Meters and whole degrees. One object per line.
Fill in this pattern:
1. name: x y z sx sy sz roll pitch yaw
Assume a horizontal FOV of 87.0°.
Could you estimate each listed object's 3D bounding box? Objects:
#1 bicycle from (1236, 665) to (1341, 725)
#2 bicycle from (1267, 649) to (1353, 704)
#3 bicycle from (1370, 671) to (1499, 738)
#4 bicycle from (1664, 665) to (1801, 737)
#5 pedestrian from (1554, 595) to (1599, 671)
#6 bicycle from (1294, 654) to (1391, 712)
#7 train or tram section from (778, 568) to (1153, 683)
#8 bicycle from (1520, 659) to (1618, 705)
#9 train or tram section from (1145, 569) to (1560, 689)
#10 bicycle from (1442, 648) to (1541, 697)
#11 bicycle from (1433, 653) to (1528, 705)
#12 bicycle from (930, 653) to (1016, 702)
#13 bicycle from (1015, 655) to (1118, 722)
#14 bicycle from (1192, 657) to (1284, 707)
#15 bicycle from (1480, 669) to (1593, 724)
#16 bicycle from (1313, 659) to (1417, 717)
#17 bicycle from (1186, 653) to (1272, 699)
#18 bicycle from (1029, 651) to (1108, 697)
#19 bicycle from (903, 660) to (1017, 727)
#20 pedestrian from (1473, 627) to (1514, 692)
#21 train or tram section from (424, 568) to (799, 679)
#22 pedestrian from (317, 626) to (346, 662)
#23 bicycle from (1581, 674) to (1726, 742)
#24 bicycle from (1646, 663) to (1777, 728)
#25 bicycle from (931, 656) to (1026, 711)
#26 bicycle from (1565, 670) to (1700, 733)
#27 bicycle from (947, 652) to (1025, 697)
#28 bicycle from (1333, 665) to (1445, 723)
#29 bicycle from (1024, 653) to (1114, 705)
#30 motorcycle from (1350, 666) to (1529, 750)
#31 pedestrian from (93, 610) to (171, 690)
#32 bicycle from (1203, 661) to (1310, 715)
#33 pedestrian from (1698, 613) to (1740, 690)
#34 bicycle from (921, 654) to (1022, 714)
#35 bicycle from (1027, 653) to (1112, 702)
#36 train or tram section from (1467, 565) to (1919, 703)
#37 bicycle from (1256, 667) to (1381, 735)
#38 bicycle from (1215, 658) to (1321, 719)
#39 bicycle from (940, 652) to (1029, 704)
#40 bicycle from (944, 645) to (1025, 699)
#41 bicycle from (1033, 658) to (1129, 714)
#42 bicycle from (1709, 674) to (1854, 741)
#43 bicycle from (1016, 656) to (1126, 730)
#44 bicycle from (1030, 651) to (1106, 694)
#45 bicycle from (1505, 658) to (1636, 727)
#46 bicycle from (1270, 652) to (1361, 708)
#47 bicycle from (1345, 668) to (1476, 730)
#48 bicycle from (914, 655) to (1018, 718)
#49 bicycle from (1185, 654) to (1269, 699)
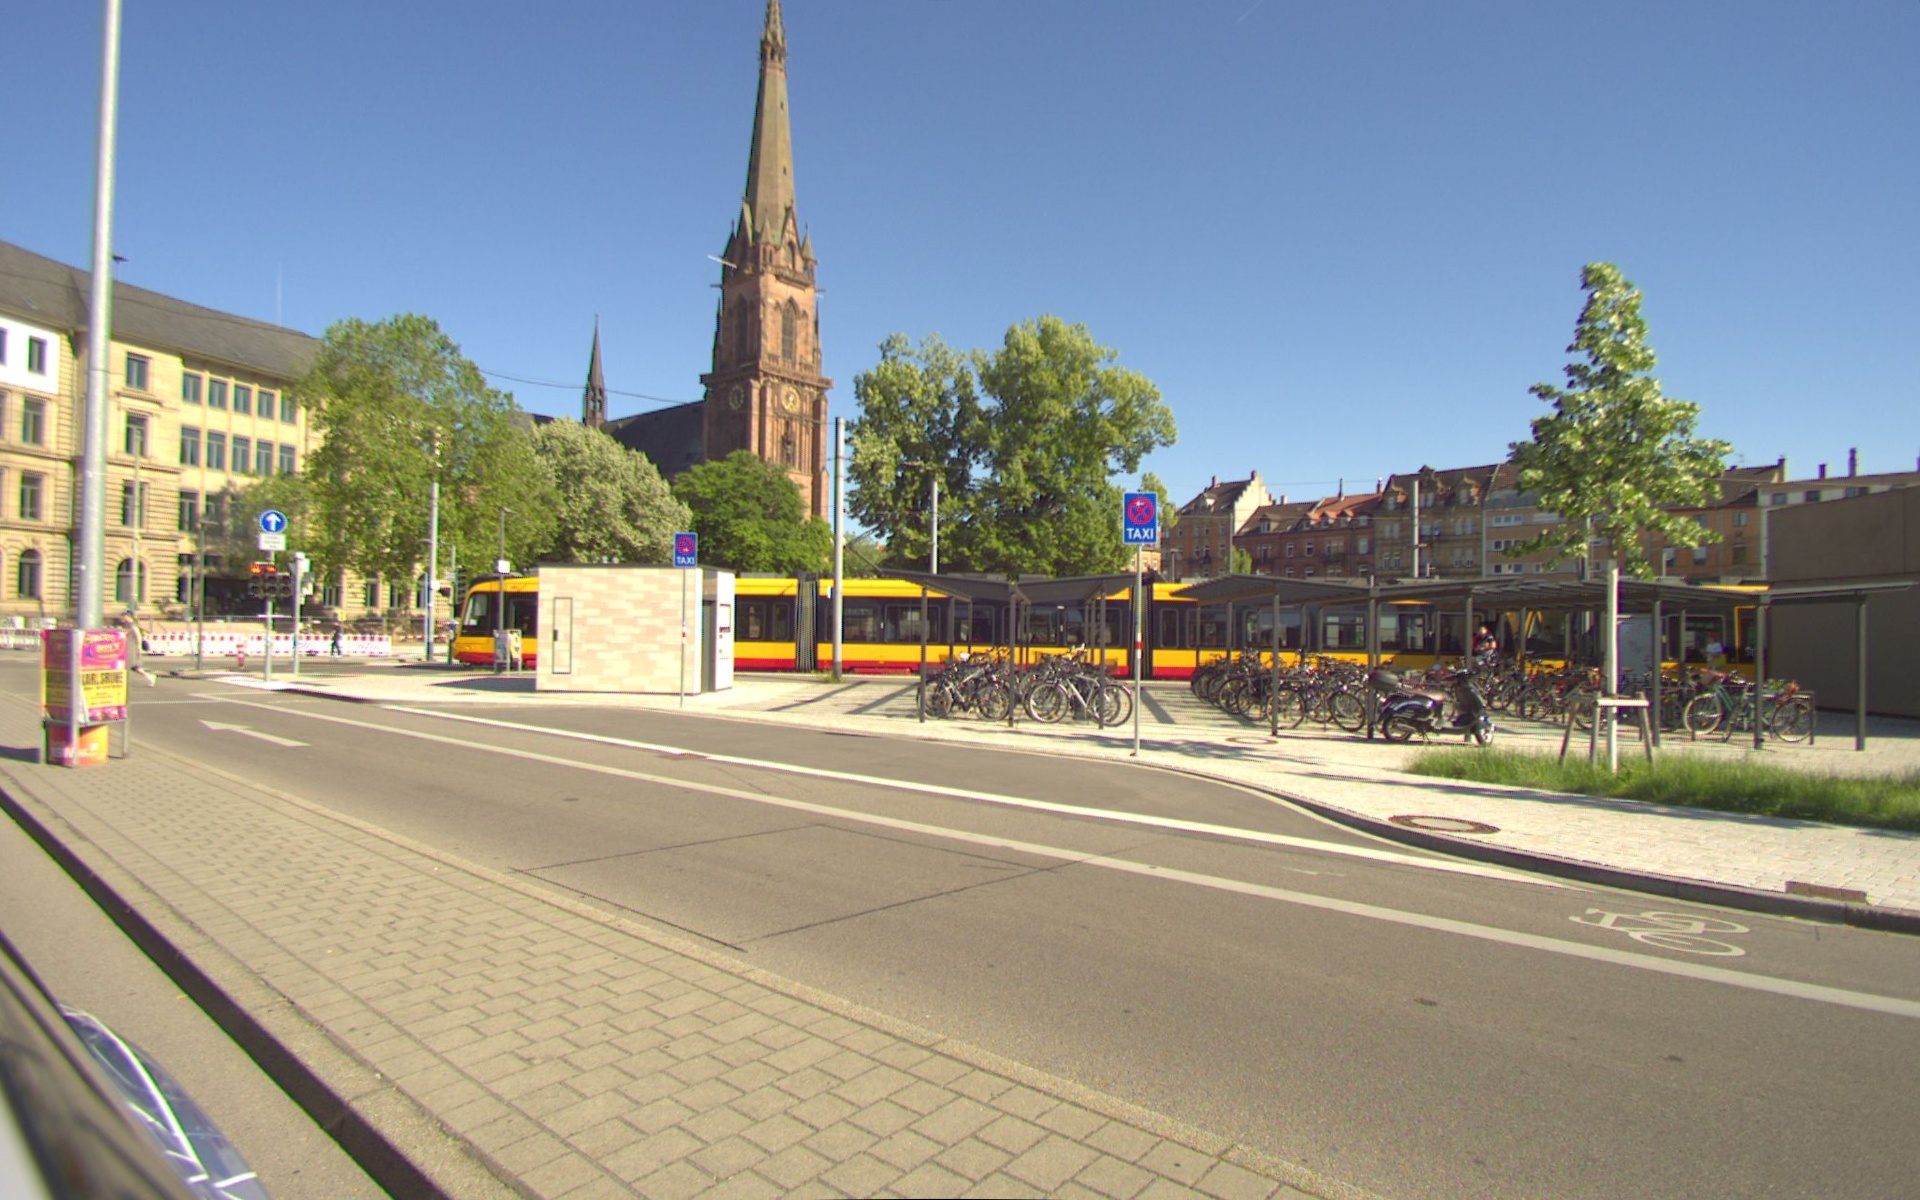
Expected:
1. bicycle: 5.861 1.689 18.123 1.731 1.015 0.547 0 -2 10
2. bicycle: 8.244 1.789 23.867 1.808 1.242 0.627 0 -2 7
3. bicycle: 7.775 1.708 16.641 1.808 1.015 0.627 0 -2 7
4. bicycle: 12.999 1.692 17.054 1.805 1.155 0.629 0 -2 0
5. pedestrian: 15.421 0.818 25.328 0.700 1.869 0.751 2 -2 -38
6. bicycle: 8.119 1.750 21.519 1.808 1.170 0.627 0 -2 7
7. train or tram section: 0.191 0.839 34.153 12.174 3.628 2.796 0 -2 6
8. bicycle: 14.061 1.885 23.396 1.808 1.015 0.627 0 -2 7
9. train or tram section: 12.321 0.898 32.883 12.174 3.628 2.828 0 -2 6
10. bicycle: 11.695 1.581 22.297 1.809 1.015 0.627 0 -2 9
11. bicycle: 12.009 1.819 23.393 1.809 1.140 0.627 0 -2 9
12. bicycle: 0.297 1.695 22.163 1.809 1.015 0.627 0 -2 9
13. bicycle: 1.917 1.581 18.267 1.808 1.157 0.627 0 -2 7
14. bicycle: 5.977 1.761 21.797 1.805 1.015 0.629 0 -2 0
15. bicycle: 11.270 1.877 19.831 1.809 1.015 0.627 0 -2 9
16. bicycle: 8.082 1.751 20.253 1.808 1.088 0.627 0 -2 7
17. bicycle: 6.130 1.725 23.102 1.807 1.015 0.628 0 -2 5
18. bicycle: 2.518 1.707 23.601 1.808 1.015 0.627 0 -2 7
19. bicycle: 0.014 1.587 17.366 1.847 1.015 0.699 2 -2 9
20. pedestrian: 14.092 1.558 26.727 0.762 1.672 0.604 0 -2 4
21. train or tram section: -12.045 0.784 35.451 12.382 3.628 2.796 0 -2 6
22. pedestrian: -30.749 2.148 49.548 0.920 1.754 0.807 1 -2 -8
23. bicycle: 11.166 1.726 16.339 1.809 1.015 0.627 0 -2 9
24. bicycle: 13.598 1.721 18.350 1.808 1.101 0.627 0 -2 7
25. bicycle: 0.369 1.639 19.976 1.809 1.015 0.627 0 -2 9
26. bicycle: 11.611 1.746 17.516 1.872 1.004 0.499 0 -2 13
27. bicycle: 0.628 1.755 24.106 1.809 1.015 0.627 0 -2 9
28. bicycle: 8.008 1.753 18.961 1.808 1.015 0.627 0 -2 7
29. bicycle: 2.237 1.613 20.840 1.808 1.015 0.627 0 -2 7
30. motorcycle: 7.175 1.608 15.224 2.333 1.167 0.610 0 -2 7
31. pedestrian: -19.738 1.175 24.139 0.825 1.869 1.216 -1 -2 33
32. bicycle: 5.957 1.765 20.422 1.978 1.015 0.628 0 -2 4
33. pedestrian: 18.798 1.268 25.068 0.595 1.869 0.683 2 -2 -38
34. bicycle: 0.220 1.548 18.757 1.809 1.059 0.571 0 -2 9
35. bicycle: 2.386 1.691 22.115 1.808 1.015 0.627 0 -2 7
36. train or tram section: 21.351 0.919 28.702 12.179 3.628 2.748 0 -2 7
37. bicycle: 5.985 1.680 16.970 1.871 1.050 0.688 0 -2 9
38. bicycle: 5.884 1.686 19.401 1.859 1.101 0.626 0 -2 8
39. bicycle: 0.521 1.619 21.131 1.809 1.015 0.627 0 -2 9
40. bicycle: 0.570 1.651 23.406 1.809 1.188 0.627 0 -2 9
41. bicycle: 2.329 1.639 19.532 1.808 1.015 0.745 0 -2 7
42. bicycle: 13.027 1.699 16.067 1.803 1.015 0.629 1 -2 -3
43. bicycle: 1.872 1.560 17.125 1.808 1.167 0.627 1 -2 7
44. bicycle: 2.641 1.763 24.800 1.808 1.015 0.627 0 -2 7
45. bicycle: 11.305 1.707 18.791 2.029 1.218 0.505 0 -2 8
46. bicycle: 7.937 1.771 22.669 1.808 1.198 0.647 0 -2 7
47. bicycle: 7.927 1.734 17.867 2.003 1.015 0.627 0 -2 7
48. bicycle: 0.124 1.542 18.228 1.809 1.074 0.627 0 -2 9
49. bicycle: 6.259 1.790 23.789 1.808 1.015 0.627 0 -2 6
